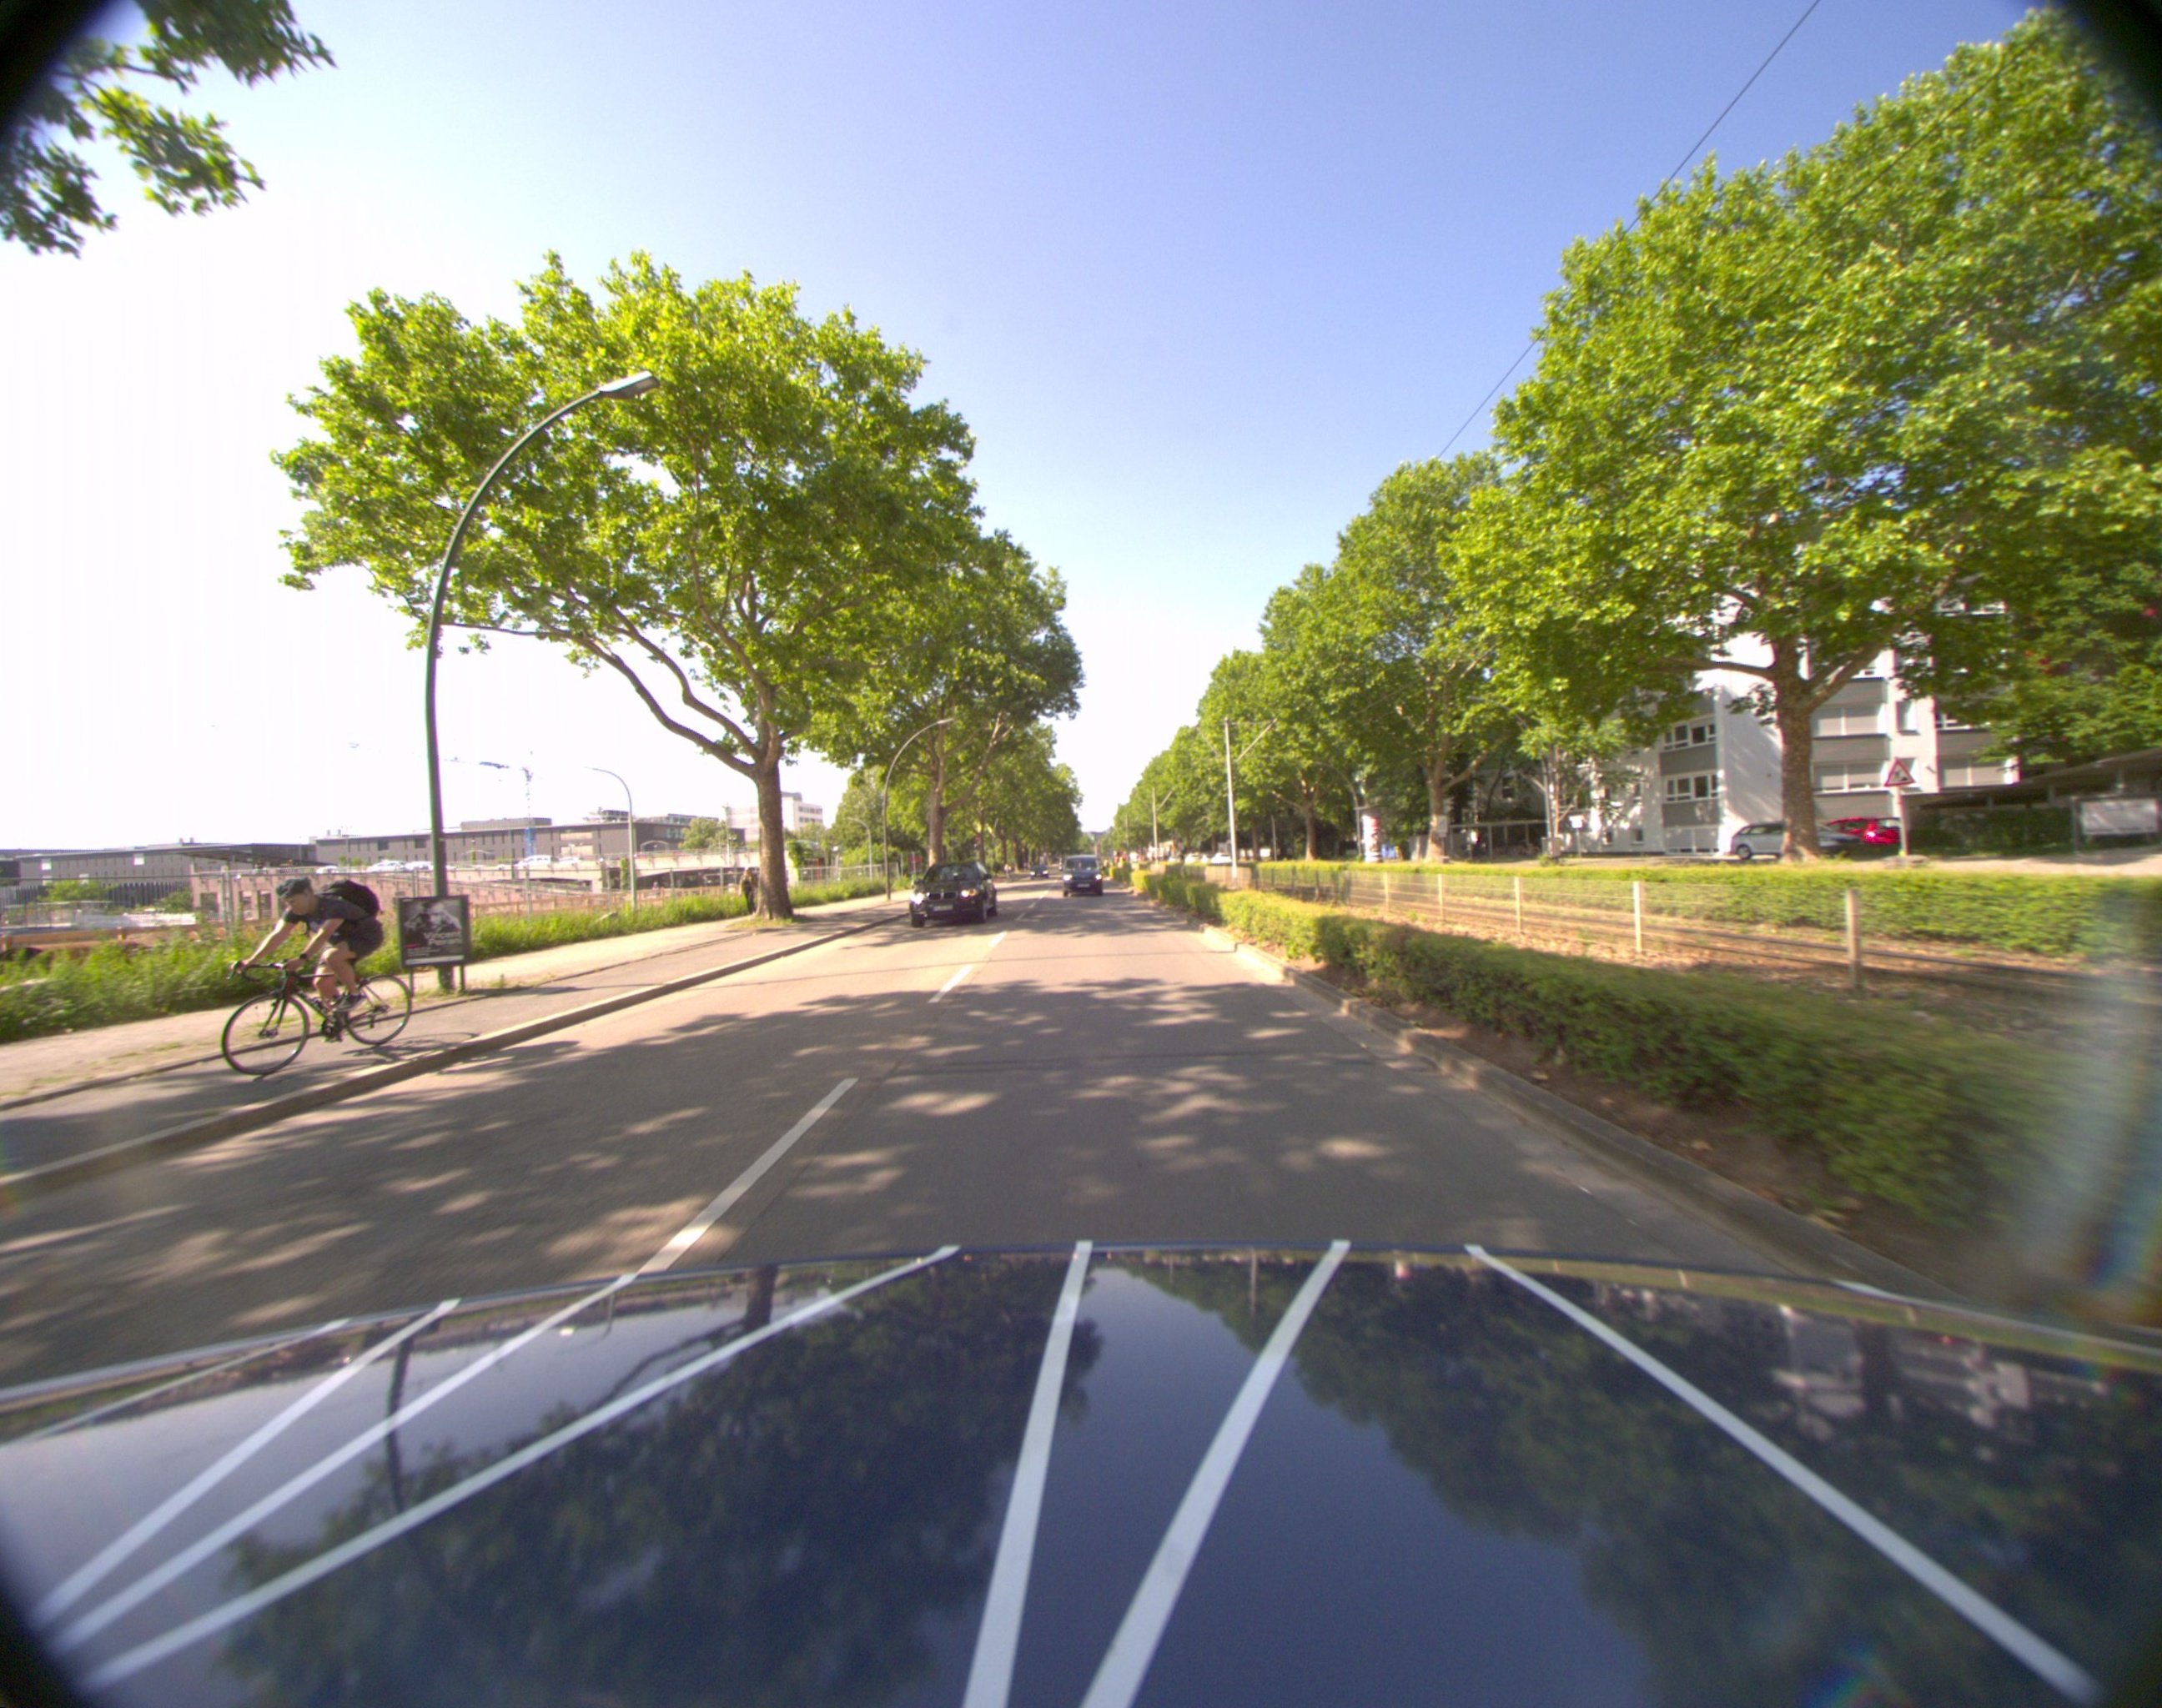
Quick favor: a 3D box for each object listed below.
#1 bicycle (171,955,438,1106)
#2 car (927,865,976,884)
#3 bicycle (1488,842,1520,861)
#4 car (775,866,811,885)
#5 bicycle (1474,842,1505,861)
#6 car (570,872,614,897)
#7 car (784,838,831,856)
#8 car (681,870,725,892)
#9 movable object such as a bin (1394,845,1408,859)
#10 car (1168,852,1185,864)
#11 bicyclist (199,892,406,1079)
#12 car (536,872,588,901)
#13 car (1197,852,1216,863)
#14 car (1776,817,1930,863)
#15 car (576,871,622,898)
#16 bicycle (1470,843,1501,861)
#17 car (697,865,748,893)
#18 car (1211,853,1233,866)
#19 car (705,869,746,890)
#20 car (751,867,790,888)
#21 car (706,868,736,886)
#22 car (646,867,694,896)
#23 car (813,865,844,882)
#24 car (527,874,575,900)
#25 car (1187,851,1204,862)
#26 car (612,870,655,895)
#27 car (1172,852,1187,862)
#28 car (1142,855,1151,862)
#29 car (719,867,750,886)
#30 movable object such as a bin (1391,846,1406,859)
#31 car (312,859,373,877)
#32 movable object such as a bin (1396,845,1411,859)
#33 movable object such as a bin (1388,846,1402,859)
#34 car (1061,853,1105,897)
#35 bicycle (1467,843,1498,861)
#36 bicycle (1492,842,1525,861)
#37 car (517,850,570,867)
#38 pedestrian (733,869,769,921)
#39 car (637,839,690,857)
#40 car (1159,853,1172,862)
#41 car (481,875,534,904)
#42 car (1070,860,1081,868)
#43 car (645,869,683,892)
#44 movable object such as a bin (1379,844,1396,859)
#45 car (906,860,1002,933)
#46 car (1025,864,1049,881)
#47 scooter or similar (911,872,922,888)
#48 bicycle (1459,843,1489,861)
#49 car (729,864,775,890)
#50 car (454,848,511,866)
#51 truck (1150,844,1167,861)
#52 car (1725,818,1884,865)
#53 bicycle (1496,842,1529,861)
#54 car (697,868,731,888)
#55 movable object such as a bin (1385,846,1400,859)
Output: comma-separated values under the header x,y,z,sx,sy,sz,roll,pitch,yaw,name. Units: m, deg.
x,y,z,sx,sy,sz,roll,pitch,yaw,name
-6.921,1.519,6.926,0.599,0.974,1.781,-1,0,0,bicycle
-10.974,1.776,64.327,3.989,1.400,1.900,-4,0,41,car
26.939,-0.170,48.405,1.770,1.096,0.422,-3,0,-1,bicycle
-38.340,2.894,101.353,3.998,2.308,1.809,-3,0,-2,car
26.786,-0.158,49.849,1.770,1.096,0.422,-3,0,-1,bicycle
-60.423,3.759,93.907,3.998,2.722,1.809,-3,0,-2,car
-27.548,-0.706,76.605,3.998,1.500,1.809,-3,0,-2,car
-43.488,3.114,87.499,3.998,2.308,1.809,-3,0,-2,car
25.342,-0.132,60.173,0.898,1.031,0.546,-3,0,-1,movable object such as a bin
13.442,0.553,106.954,1.860,1.445,4.000,-3,0,0,car
-6.923,1.110,6.839,0.600,1.481,1.215,0,0,0,bicyclist
-54.726,3.441,80.151,3.998,2.722,1.809,-3,0,-2,car
16.821,0.464,101.977,1.856,1.445,4.000,-3,0,0,car
29.350,-0.496,29.083,1.747,1.540,4.000,-3,0,0,car
-55.272,3.486,87.177,3.998,2.722,1.809,-3,0,-2,car
26.790,-0.157,50.288,1.770,1.096,0.422,-3,0,-1,bicycle
-37.970,2.633,80.520,4.375,2.722,1.809,-3,0,-2,car
16.374,0.641,88.207,1.820,1.481,3.912,-1,0,0,car
-43.535,3.130,93.053,3.998,2.308,1.809,-3,0,-2,car
-38.100,2.862,93.311,3.998,2.308,1.809,-3,0,-2,car
-60.939,3.874,128.546,3.998,2.722,1.809,-3,0,-2,car
-43.532,2.890,80.553,3.998,2.722,1.809,-3,0,-2,car
-38.129,2.919,114.963,3.998,2.308,1.809,-3,0,-2,car
-60.582,3.749,86.912,3.998,2.722,1.809,-3,0,-2,car
17.046,0.371,113.301,1.860,1.445,4.000,-3,0,0,car
-55.360,3.508,94.064,3.998,2.722,1.809,-3,0,-2,car
16.171,0.550,124.952,1.701,1.406,3.892,-5,0,0,car
16.161,1.064,186.416,1.752,1.445,3.865,-3,0,0,car
-55.496,3.587,121.646,3.998,2.722,1.809,-3,0,-2,car
25.350,-0.131,60.738,0.898,1.031,0.546,-3,0,-1,movable object such as a bin
-71.597,1.349,73.706,3.998,1.500,1.809,-3,0,-2,car
25.275,-0.130,59.617,0.898,1.031,0.546,-3,0,-1,movable object such as a bin
25.338,-0.129,61.344,0.898,1.031,0.546,-3,0,-1,movable object such as a bin
0.145,0.897,35.039,1.789,1.839,4.000,-2,0,2,car
26.821,-0.158,50.750,1.770,1.096,0.422,-3,0,-1,bicycle
26.950,-0.171,47.907,1.770,1.096,0.422,-3,0,-1,bicycle
-54.031,0.474,76.420,3.998,1.500,1.809,-3,0,-2,car
-10.979,1.346,25.318,0.697,1.673,0.959,-3,0,0,pedestrian
-40.603,-0.608,73.958,3.998,1.500,1.809,-3,0,-2,car
15.381,0.578,138.081,1.701,1.406,3.892,-5,0,0,car
-60.495,3.727,80.171,3.998,2.722,1.809,-3,0,-2,car
-1.101,1.913,144.577,1.854,1.418,4.152,-4,0,2,car
-55.399,3.528,100.994,3.998,2.722,1.809,-3,0,-2,car
25.349,-0.181,62.782,0.898,1.182,1.099,-3,0,0,movable object such as a bin
-3.474,1.095,21.511,1.924,1.720,4.151,-4,0,0,car
-4.360,1.811,75.604,1.854,1.418,4.152,-4,0,2,car
-11.675,1.838,53.923,0.483,1.115,1.128,-3,0,1,scooter or similar
26.819,-0.155,51.837,1.770,1.096,0.422,-3,0,-1,bicycle
-37.857,2.646,87.553,4.375,2.722,1.809,-3,0,-2,car
-58.059,0.256,73.745,3.998,1.500,1.809,-3,0,-2,car
16.656,-0.279,162.956,2.752,3.259,6.541,-3,0,0,truck
26.910,-0.411,28.508,1.747,1.540,4.349,-3,0,0,car
26.949,-0.173,47.444,1.770,1.096,0.422,-3,0,-1,bicycle
-55.433,3.566,114.827,3.998,2.722,1.809,-3,0,-2,car
25.372,-0.129,61.910,0.898,1.031,0.546,-3,0,-1,movable object such as a bin
